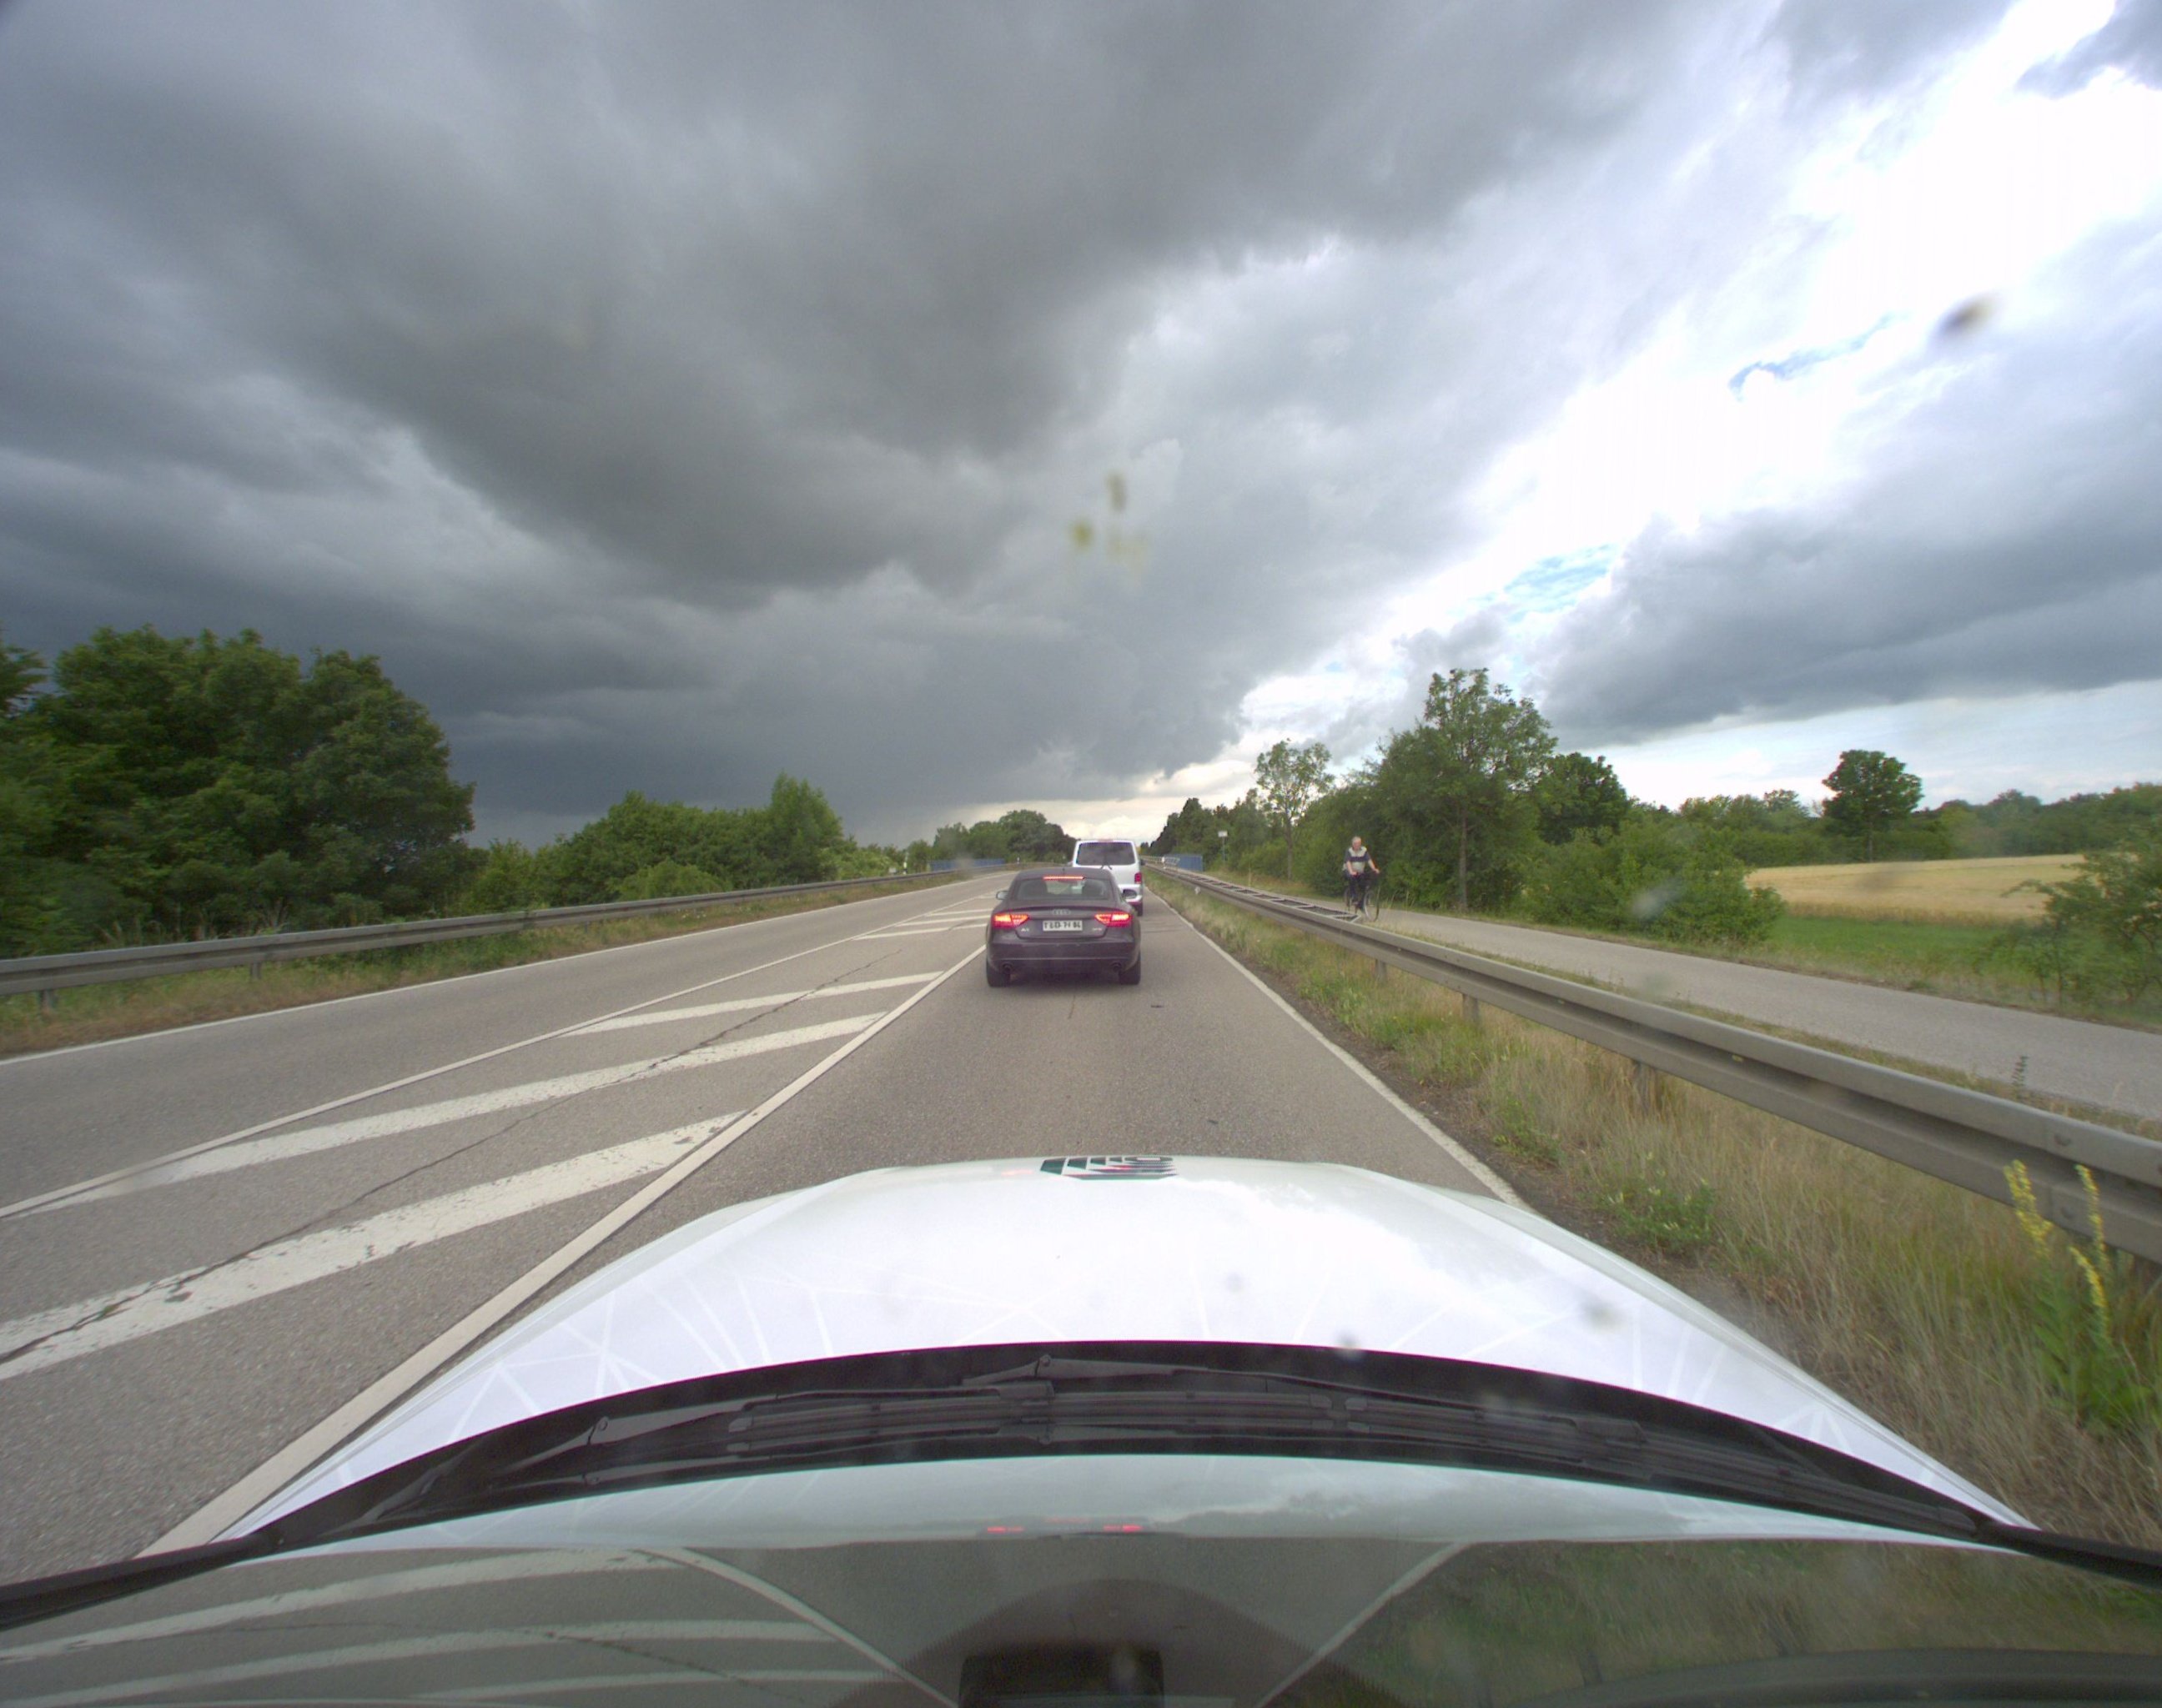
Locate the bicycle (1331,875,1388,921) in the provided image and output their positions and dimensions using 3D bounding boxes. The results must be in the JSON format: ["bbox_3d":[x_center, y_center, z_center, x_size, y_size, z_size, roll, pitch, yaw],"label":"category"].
[{"bbox_3d":[6.170,0.959,18.133,0.663,0.920,1.831,-2,-1,2],"label":"bicycle"}]

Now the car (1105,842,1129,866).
[{"bbox_3d":[3.839,0.021,87.616,2.438,2.504,5.044,0,0,2],"label":"car"}]

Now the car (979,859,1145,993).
[{"bbox_3d":[-0.144,0.799,10.769,1.779,1.424,4.001,0,-1,2],"label":"car"}]

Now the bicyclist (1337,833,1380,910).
[{"bbox_3d":[6.146,0.391,18.066,0.644,1.645,0.866,-2,-1,2],"label":"bicyclist"}]

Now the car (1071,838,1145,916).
[{"bbox_3d":[0.729,0.585,21.746,1.779,1.890,4.001,0,-1,2],"label":"car"}]
